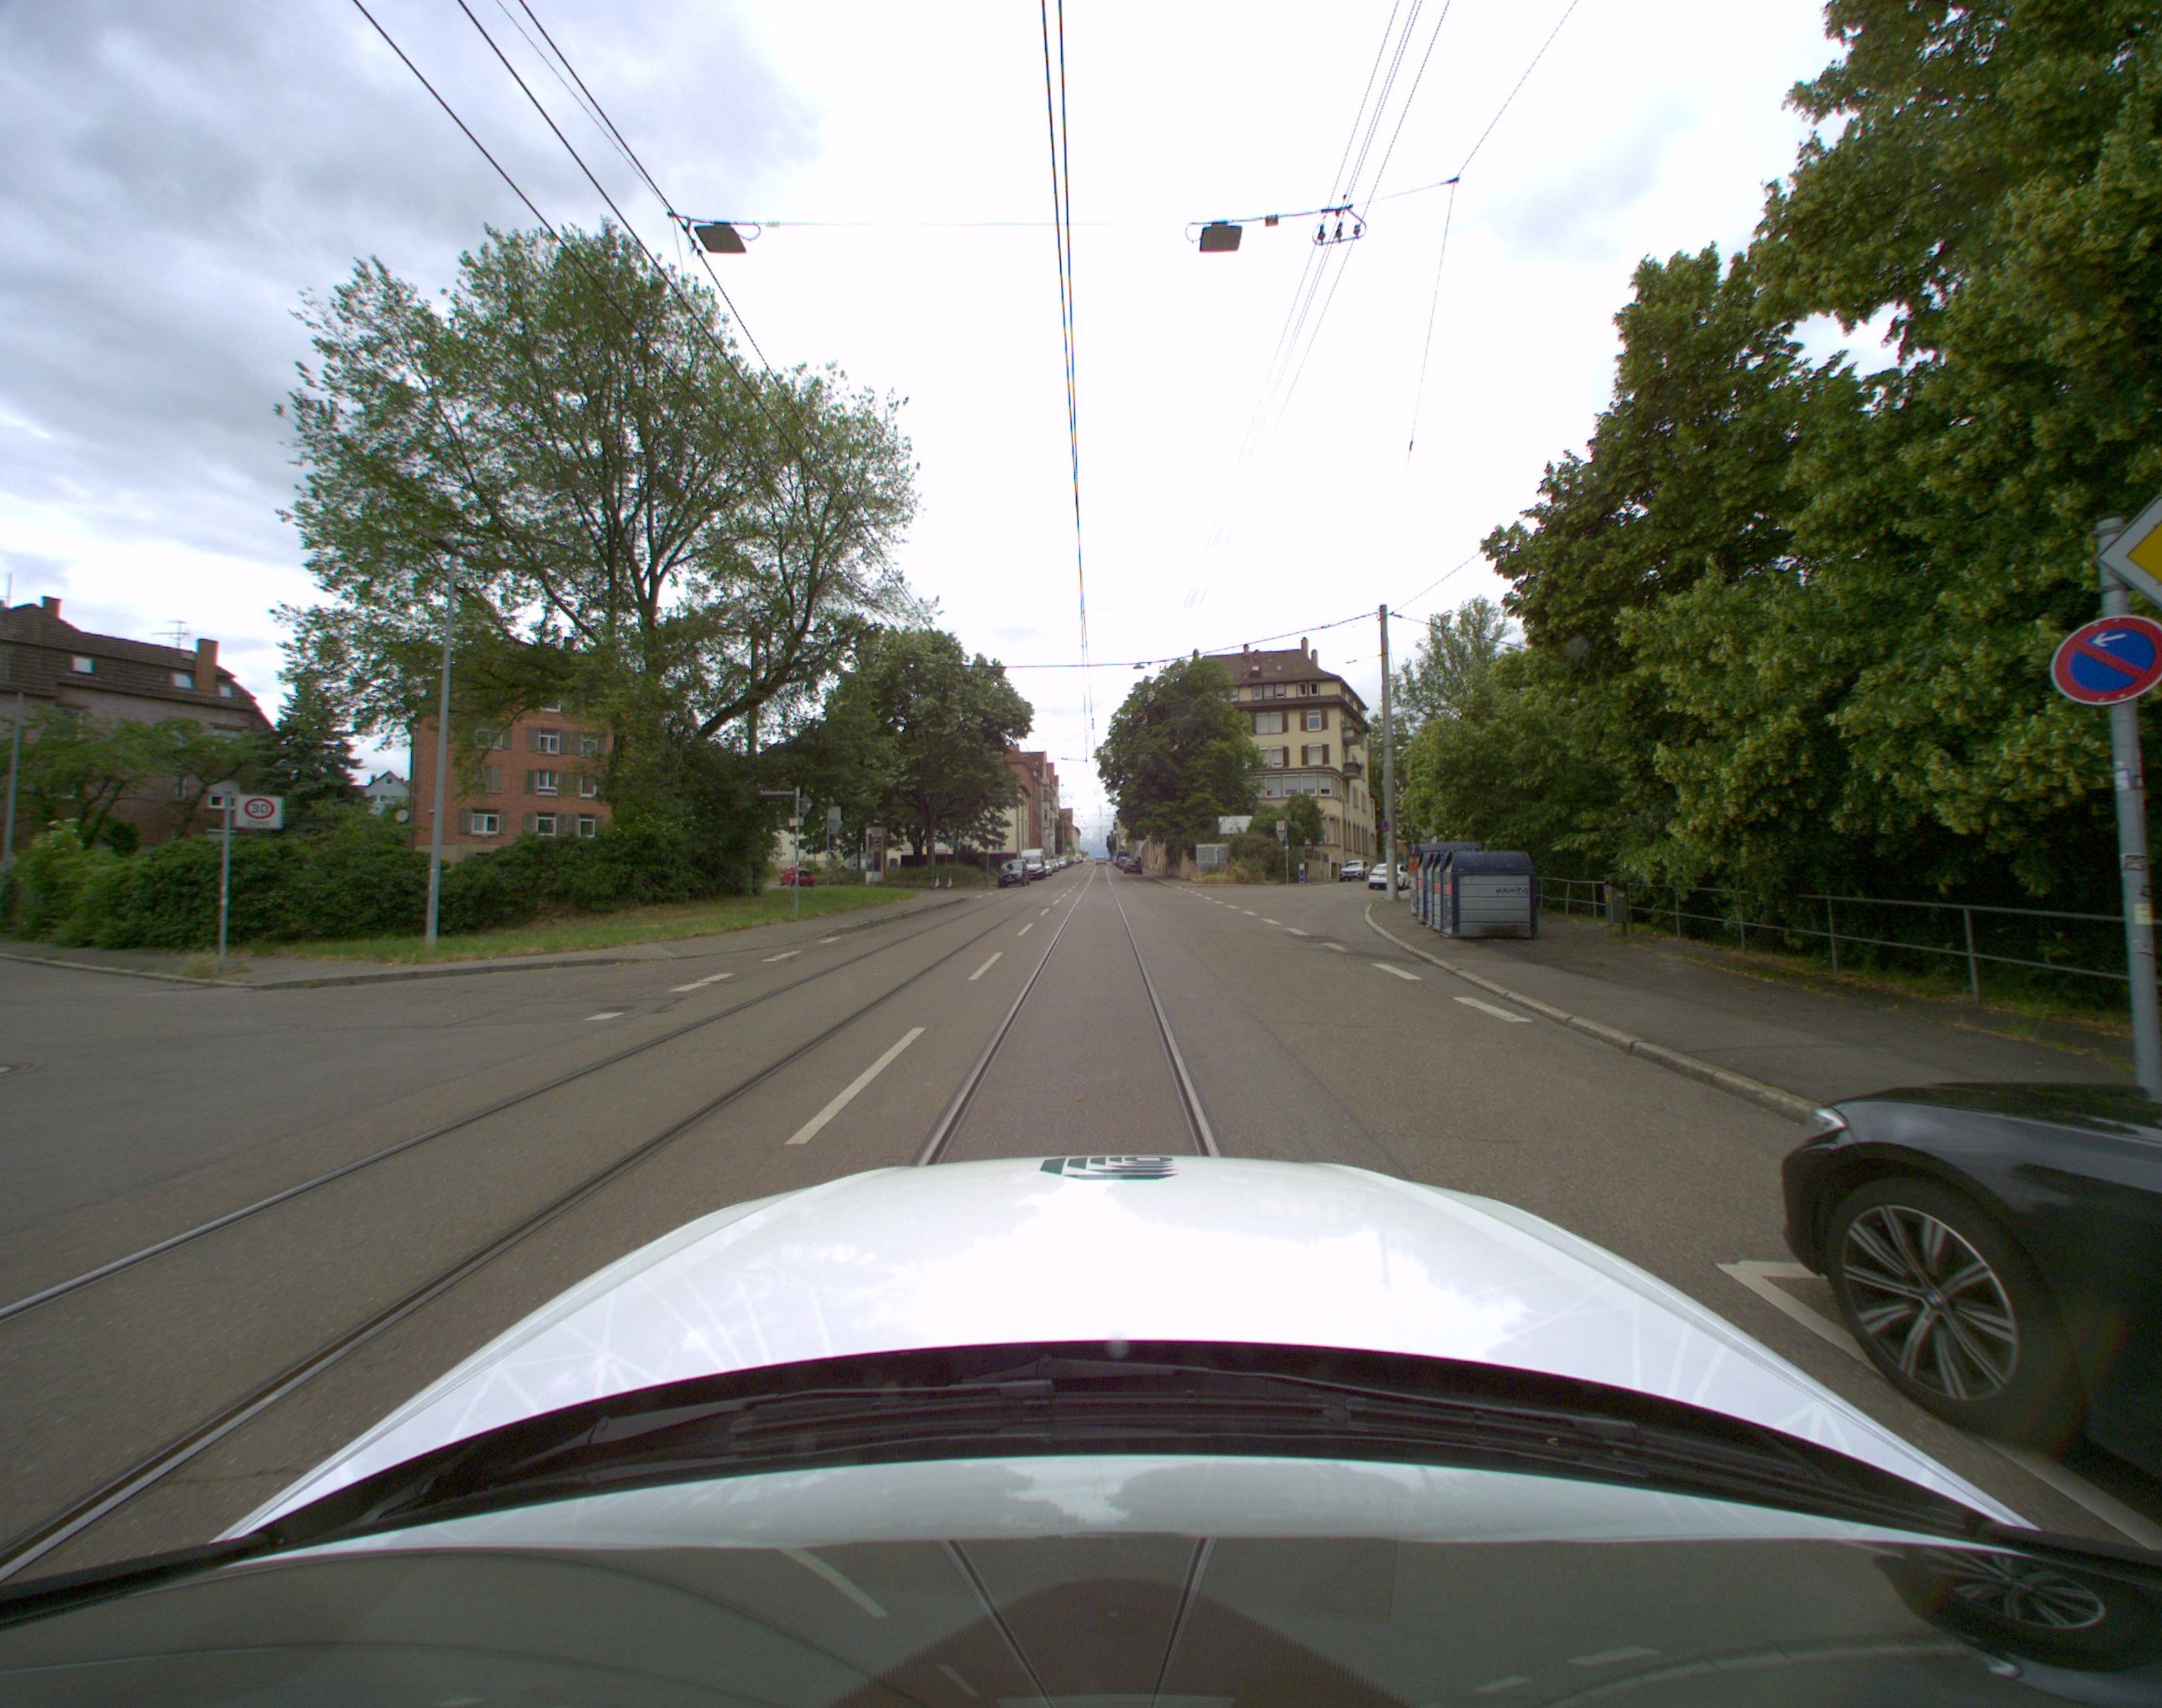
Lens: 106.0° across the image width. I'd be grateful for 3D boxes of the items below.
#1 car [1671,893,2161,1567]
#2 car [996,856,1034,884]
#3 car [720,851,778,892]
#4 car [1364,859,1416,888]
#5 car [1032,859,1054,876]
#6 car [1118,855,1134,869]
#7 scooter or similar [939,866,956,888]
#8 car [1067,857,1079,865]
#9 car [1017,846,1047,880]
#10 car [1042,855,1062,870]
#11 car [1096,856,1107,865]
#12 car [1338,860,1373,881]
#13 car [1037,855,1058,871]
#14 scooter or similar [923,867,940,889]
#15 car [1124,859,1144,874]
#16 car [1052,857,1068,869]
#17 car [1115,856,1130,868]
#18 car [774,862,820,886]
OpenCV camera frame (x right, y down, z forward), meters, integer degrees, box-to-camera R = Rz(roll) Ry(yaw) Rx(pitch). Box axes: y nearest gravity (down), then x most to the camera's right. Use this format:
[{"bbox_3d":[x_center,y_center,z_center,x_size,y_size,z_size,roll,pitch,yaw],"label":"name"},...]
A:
[{"bbox_3d":[3.295,0.872,0.924,1.821,1.430,4.848,1,-1,1],"label":"car"},{"bbox_3d":[-4.412,1.075,54.965,1.985,1.808,4.002,0,-1,3],"label":"car"},{"bbox_3d":[-14.486,0.737,35.422,2.004,1.662,3.965,0,-1,-27],"label":"car"},{"bbox_3d":[17.039,1.046,44.783,1.974,1.479,4.491,-1,-1,30],"label":"car"},{"bbox_3d":[-3.671,1.321,79.768,1.987,1.600,4.310,0,-1,-1],"label":"car"},{"bbox_3d":[5.814,1.054,104.988,1.986,1.717,4.001,-1,-1,2],"label":"car"},{"bbox_3d":[-8.197,1.413,49.917,0.688,1.339,1.640,0,-1,2],"label":"scooter or similar"},{"bbox_3d":[-1.479,1.336,152.814,1.986,1.601,4.000,0,-1,1],"label":"car"},{"bbox_3d":[-4.107,0.813,69.462,2.224,2.764,5.797,0,-1,-1],"label":"car"},{"bbox_3d":[-3.465,1.032,96.792,1.985,1.812,4.315,0,-1,3],"label":"car"},{"bbox_3d":[3.656,1.152,144.644,1.986,1.498,4.313,0,-1,1],"label":"car"},{"bbox_3d":[21.041,1.231,62.386,1.975,1.552,4.023,-1,-1,27],"label":"car"},{"bbox_3d":[-3.683,1.038,91.141,1.985,1.812,4.315,0,-1,3],"label":"car"},{"bbox_3d":[-9.147,1.481,49.966,0.688,1.339,1.640,0,-1,2],"label":"scooter or similar"},{"bbox_3d":[5.382,1.254,83.547,1.985,1.530,4.314,0,-1,3],"label":"car"},{"bbox_3d":[-2.882,1.223,113.292,1.917,1.601,4.001,0,-1,2],"label":"car"},{"bbox_3d":[5.979,1.136,117.032,1.986,1.651,4.001,-1,-1,2],"label":"car"},{"bbox_3d":[-20.171,1.392,57.758,2.008,1.596,3.956,1,-1,-36],"label":"car"}]
